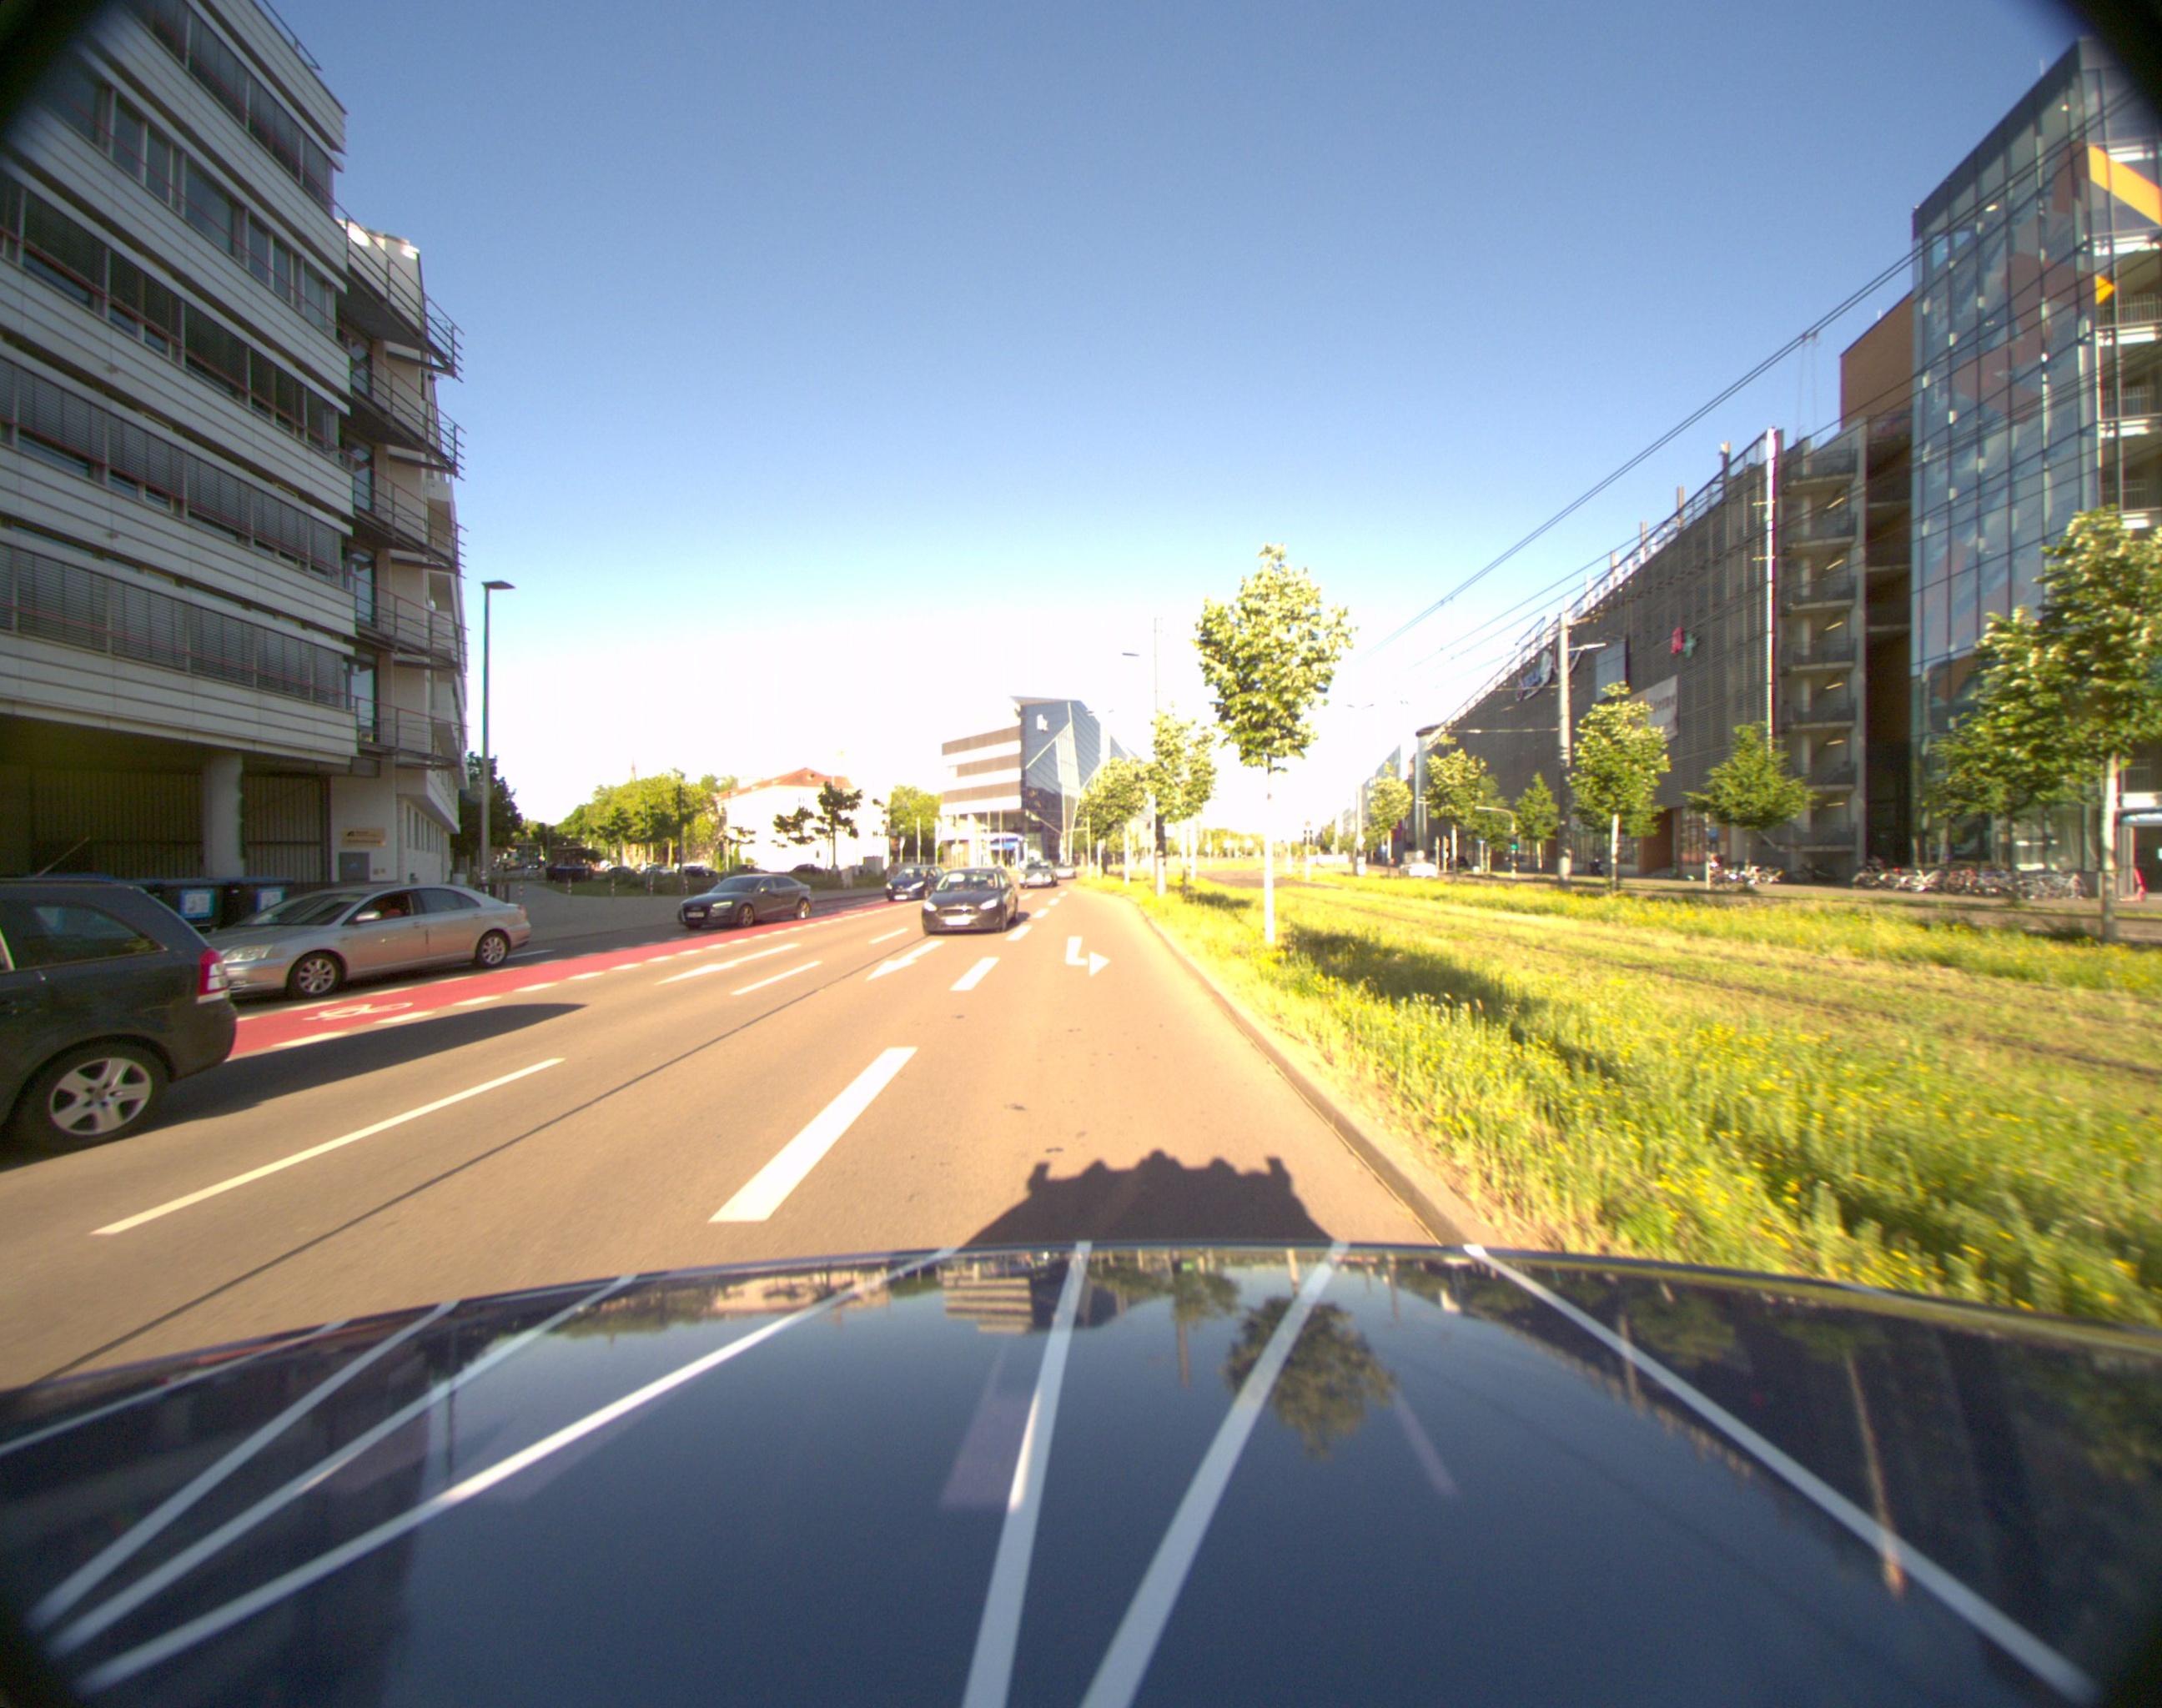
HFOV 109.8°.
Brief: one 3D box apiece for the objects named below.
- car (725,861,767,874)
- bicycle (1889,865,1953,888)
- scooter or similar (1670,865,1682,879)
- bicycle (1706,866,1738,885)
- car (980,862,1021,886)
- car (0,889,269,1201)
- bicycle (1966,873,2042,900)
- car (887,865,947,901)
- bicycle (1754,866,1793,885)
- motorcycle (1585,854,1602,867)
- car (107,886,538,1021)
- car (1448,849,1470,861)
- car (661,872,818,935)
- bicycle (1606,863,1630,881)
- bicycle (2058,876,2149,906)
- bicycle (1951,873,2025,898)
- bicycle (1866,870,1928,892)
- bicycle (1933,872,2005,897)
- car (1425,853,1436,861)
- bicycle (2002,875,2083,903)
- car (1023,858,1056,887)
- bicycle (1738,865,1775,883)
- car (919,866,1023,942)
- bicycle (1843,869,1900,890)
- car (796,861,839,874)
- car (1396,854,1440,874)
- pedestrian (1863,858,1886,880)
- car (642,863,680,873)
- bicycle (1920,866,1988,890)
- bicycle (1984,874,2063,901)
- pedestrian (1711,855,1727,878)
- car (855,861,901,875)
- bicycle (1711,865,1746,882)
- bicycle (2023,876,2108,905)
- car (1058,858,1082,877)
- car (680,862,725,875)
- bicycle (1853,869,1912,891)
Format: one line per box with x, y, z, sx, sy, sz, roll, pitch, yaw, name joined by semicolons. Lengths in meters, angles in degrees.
-37.532;1.512;85.189;3.991;1.414;2.003;-1;0;18;car
34.394;0.916;31.129;1.768;0.921;0.491;-1;1;15;bicycle
37.822;1.137;48.308;0.290;0.888;0.902;0;1;15;scooter or similar
30.551;1.024;36.232;0.386;0.863;1.773;-1;0;11;bicycle
-4.976;1.216;47.336;1.438;1.437;4.004;0;0;11;car
-6.812;1.078;3.195;1.691;1.619;4.465;-1;0;7;car
33.599;1.183;27.689;1.768;0.921;0.565;-1;1;15;bicycle
-7.230;1.239;33.889;1.735;1.437;4.000;0;0;1;car
35.237;1.087;38.661;1.398;0.921;0.462;-1;1;15;bicycle
39.303;0.498;58.307;0.428;0.914;2.027;-1;0;14;motorcycle
-10.739;1.292;11.381;1.754;1.423;4.490;-1;0;4;car
49.664;0.116;99.920;1.583;1.521;3.753;-2;0;11;car
-9.336;1.297;21.197;1.712;1.433;4.116;-1;0;16;car
29.282;0.992;41.469;0.386;0.918;1.773;-1;0;11;bicycle
32.895;1.184;24.462;1.768;0.921;0.565;-1;1;15;bicycle
33.768;1.173;28.323;1.768;0.921;0.565;-1;1;15;bicycle
34.690;1.141;32.325;1.768;0.921;0.565;-1;1;15;bicycle
33.936;1.164;29.062;1.768;0.921;0.565;-1;1;15;bicycle
59.820;0.540;129.961;1.688;1.364;3.596;-1;0;24;car
33.258;1.201;26.304;1.768;0.921;0.565;-1;1;15;bicycle
-2.383;1.013;42.611;1.750;1.496;3.879;-1;0;-4;car
35.582;1.068;40.053;1.398;0.921;0.462;-1;1;15;bicycle
-2.444;1.060;17.821;1.689;1.425;4.153;-2;1;1;car
34.980;1.139;33.644;1.768;0.921;0.491;-1;1;15;bicycle
-28.750;1.491;83.053;3.991;1.414;2.003;-1;0;18;car
23.052;0.667;52.123;1.809;1.320;4.408;0;0;11;car
38.609;0.736;36.952;0.629;1.048;0.450;-1;1;11;pedestrian
-50.026;1.665;90.496;3.990;1.237;2.003;-1;0;24;car
34.136;0.952;29.718;1.768;0.921;0.491;-1;1;15;bicycle
33.454;1.191;26.994;1.768;0.921;0.565;-1;1;15;bicycle
36.045;0.689;42.918;0.448;1.282;0.630;-1;1;11;pedestrian
-21.779;1.511;81.509;4.286;1.414;2.003;-1;0;18;car
35.274;1.070;41.422;1.398;0.921;0.462;-1;1;15;bicycle
33.032;1.213;25.520;1.768;0.921;0.565;-1;1;15;bicycle
-0.897;1.110;64.257;1.620;1.421;3.768;-2;0;5;car
-43.569;1.627;87.445;4.515;1.414;2.003;-1;0;21;car
34.821;1.133;33.016;1.768;0.921;0.491;-1;1;15;bicycle
